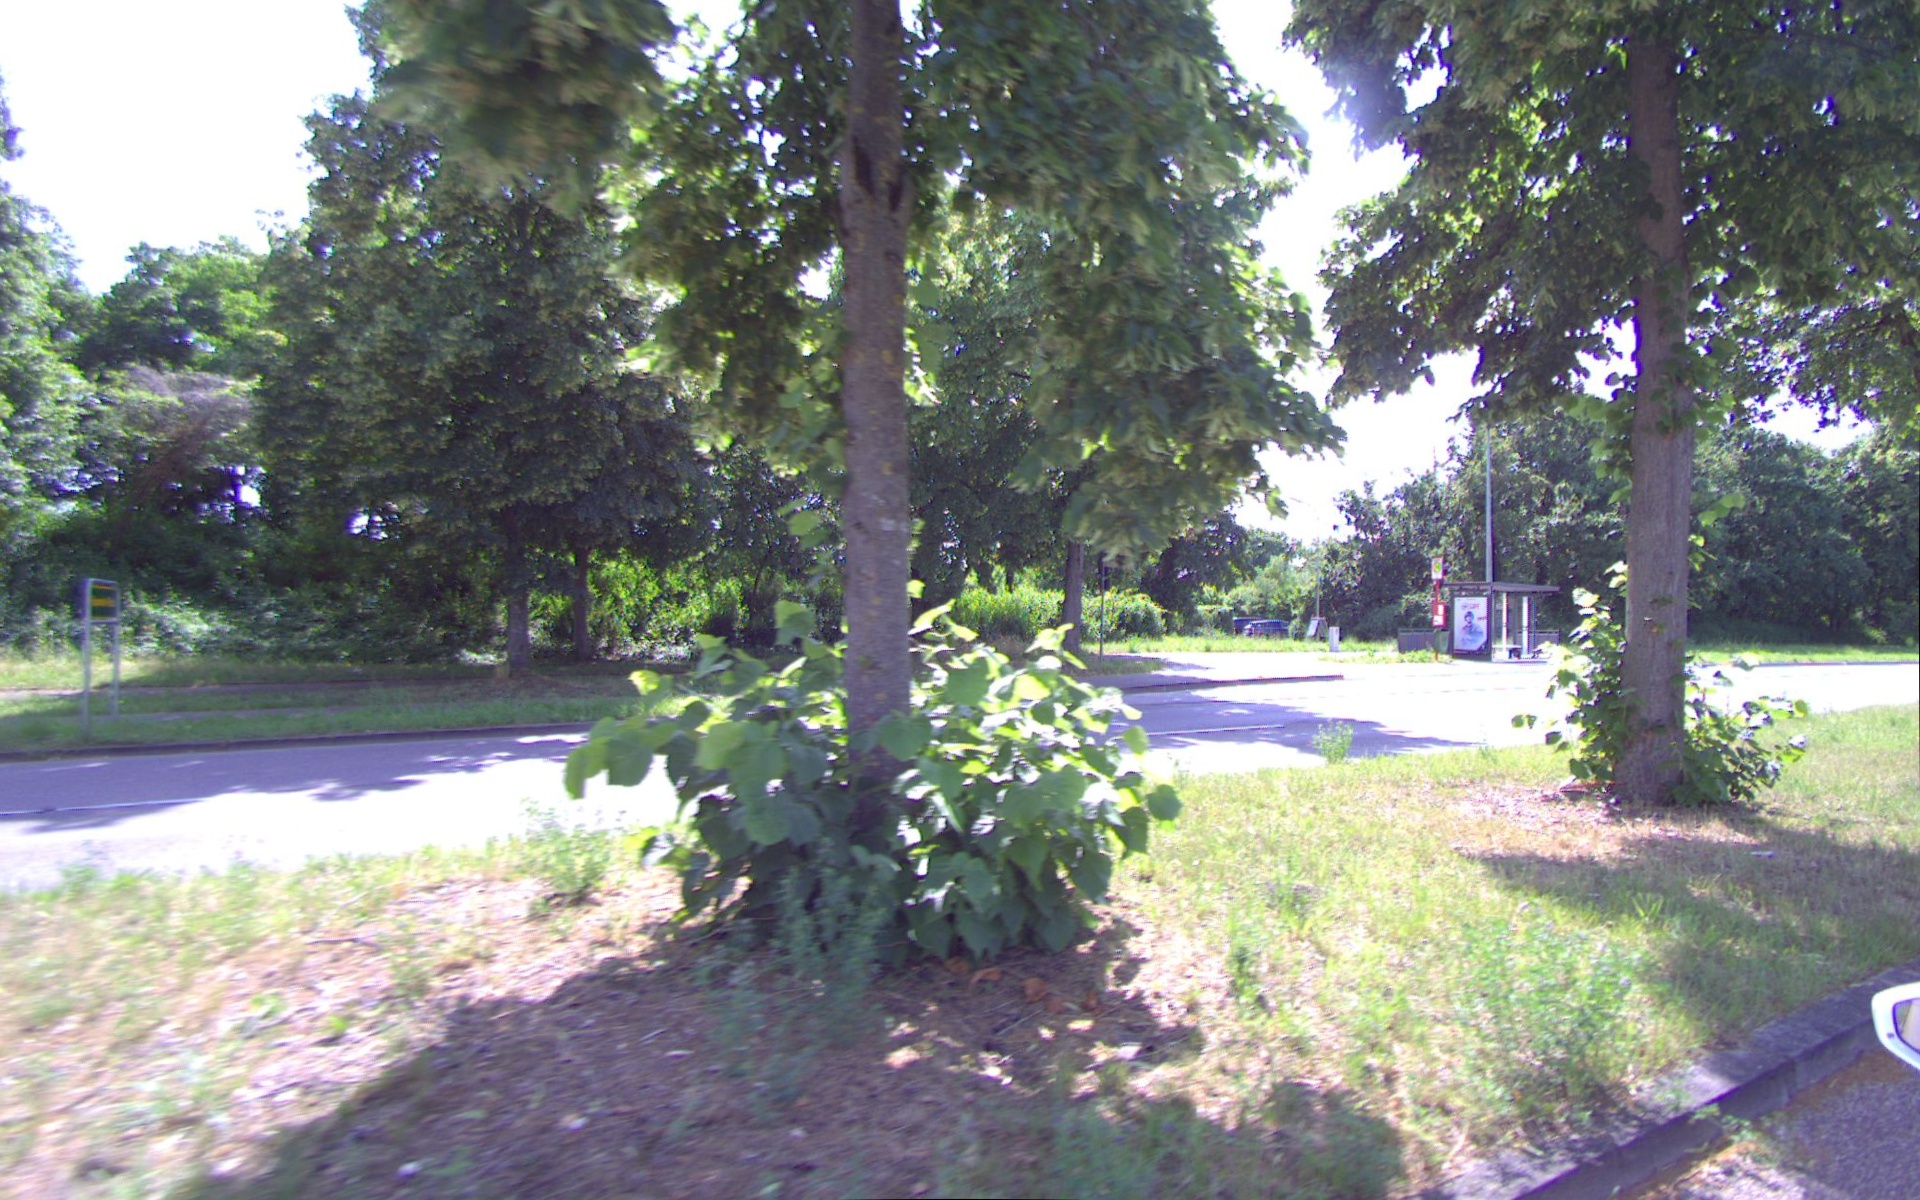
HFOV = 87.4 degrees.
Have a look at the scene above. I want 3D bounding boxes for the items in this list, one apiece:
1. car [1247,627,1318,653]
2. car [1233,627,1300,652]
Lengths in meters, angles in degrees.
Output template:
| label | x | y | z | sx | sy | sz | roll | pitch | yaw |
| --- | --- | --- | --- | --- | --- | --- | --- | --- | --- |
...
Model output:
| label | x | y | z | sx | sy | sz | roll | pitch | yaw |
| --- | --- | --- | --- | --- | --- | --- | --- | --- | --- |
| car | 20.299 | 2.520 | 63.366 | 3.919 | 1.528 | 1.761 | 1 | 0 | 5 |
| car | 20.226 | 2.578 | 66.431 | 3.919 | 1.528 | 1.761 | 1 | 0 | 5 |
